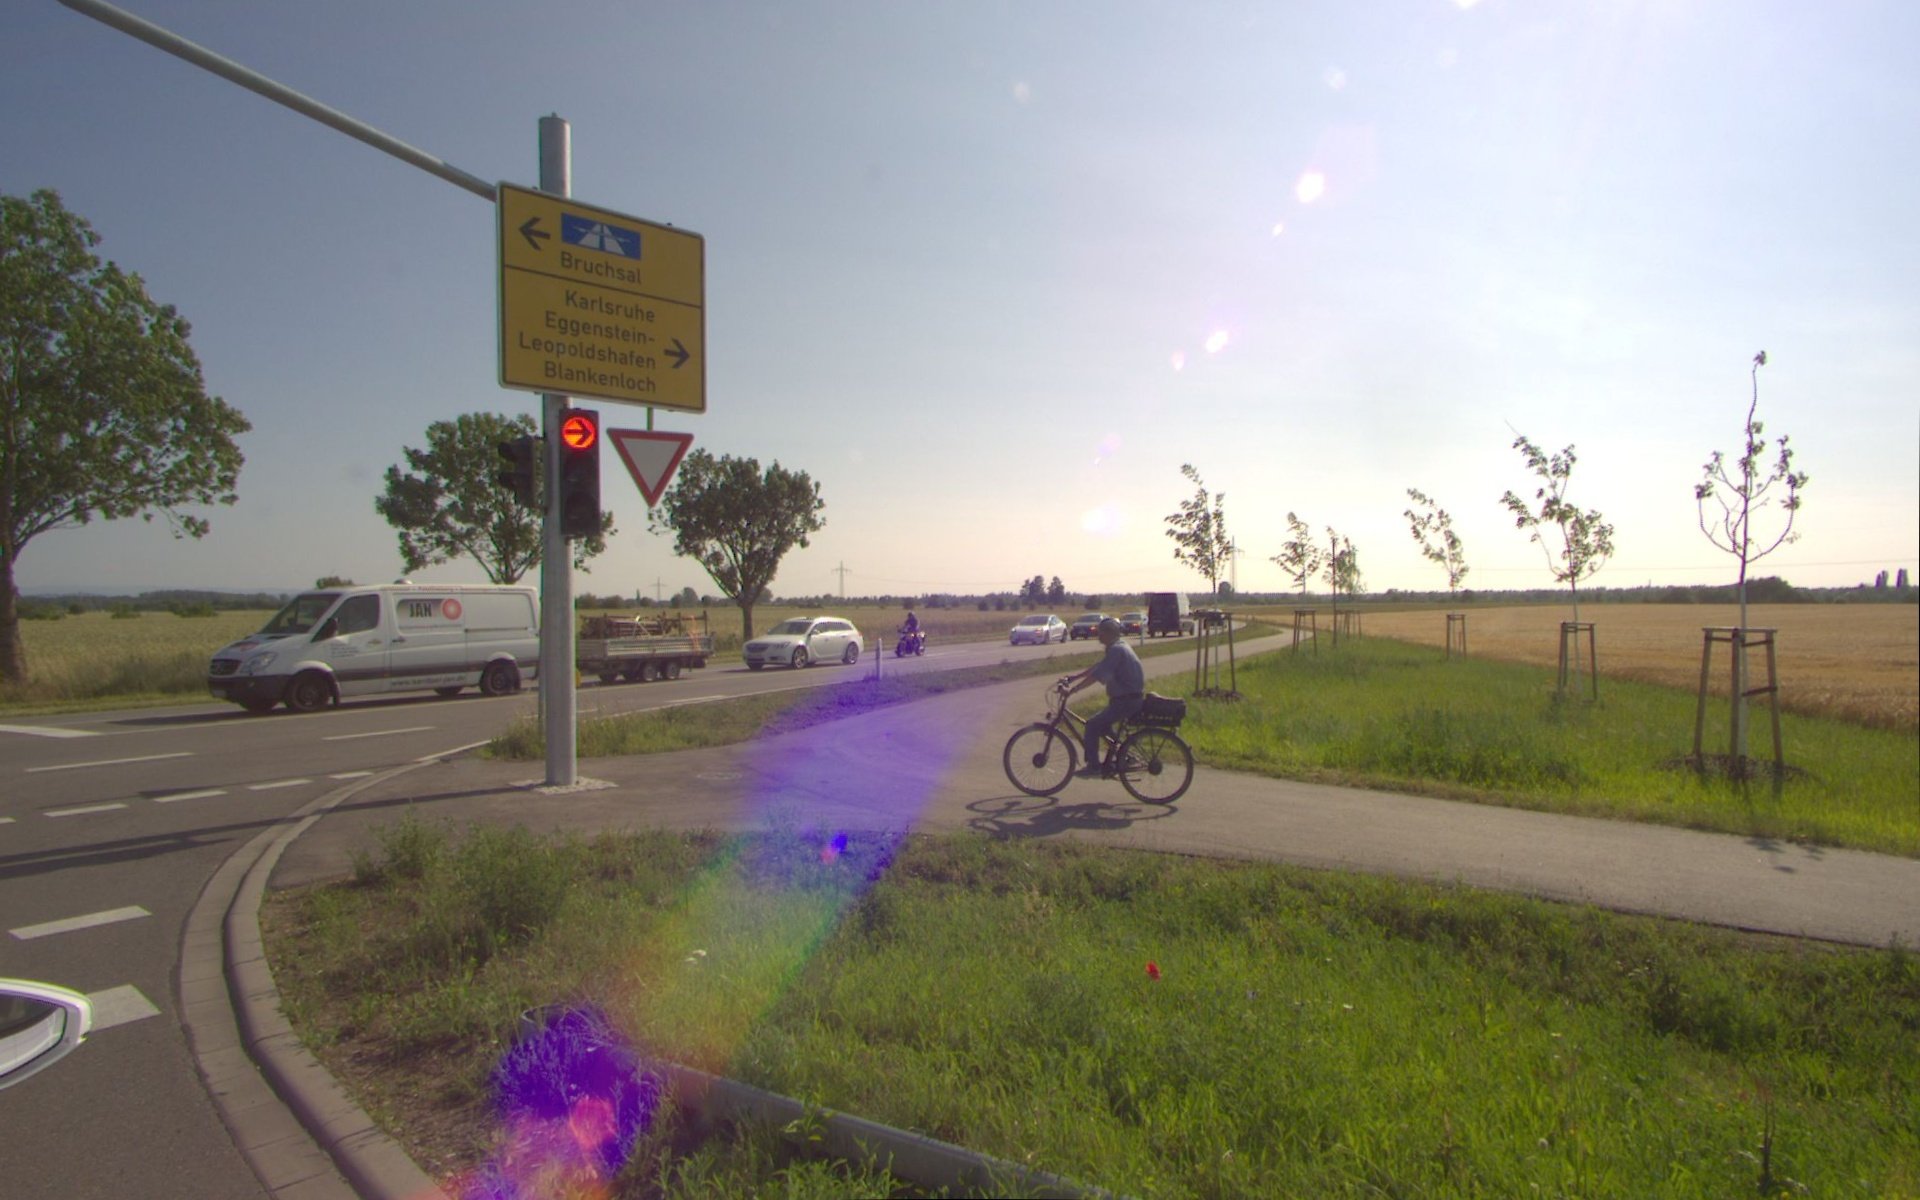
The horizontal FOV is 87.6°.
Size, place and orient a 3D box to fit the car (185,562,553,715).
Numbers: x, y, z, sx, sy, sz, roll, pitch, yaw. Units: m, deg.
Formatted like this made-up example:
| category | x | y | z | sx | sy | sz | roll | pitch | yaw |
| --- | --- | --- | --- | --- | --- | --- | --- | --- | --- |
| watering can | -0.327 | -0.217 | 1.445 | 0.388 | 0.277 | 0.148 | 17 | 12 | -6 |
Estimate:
| category | x | y | z | sx | sy | sz | roll | pitch | yaw |
| --- | --- | --- | --- | --- | --- | --- | --- | --- | --- |
| car | -11.160 | 0.645 | 19.557 | 1.971 | 2.525 | 5.947 | -2 | 0 | 30 |

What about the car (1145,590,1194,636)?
| category | x | y | z | sx | sy | sz | roll | pitch | yaw |
| --- | --- | --- | --- | --- | --- | --- | --- | --- | --- |
| car | 12.728 | 0.780 | 60.630 | 1.999 | 2.656 | 5.736 | 0 | 0 | 21 |

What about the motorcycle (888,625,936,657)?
| category | x | y | z | sx | sy | sz | roll | pitch | yaw |
| --- | --- | --- | --- | --- | --- | --- | --- | --- | --- |
| motorcycle | -1.762 | 1.514 | 37.297 | 0.836 | 1.133 | 2.140 | 0 | -2 | 26 |

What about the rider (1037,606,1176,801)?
| category | x | y | z | sx | sy | sz | roll | pitch | yaw |
| --- | --- | --- | --- | --- | --- | --- | --- | --- | --- |
| rider | 1.313 | 0.893 | 9.097 | 0.973 | 1.665 | 0.820 | 0 | 1 | -17 |

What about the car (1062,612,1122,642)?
| category | x | y | z | sx | sy | sz | roll | pitch | yaw |
| --- | --- | --- | --- | --- | --- | --- | --- | --- | --- |
| car | 7.789 | 1.608 | 58.595 | 1.990 | 1.609 | 4.868 | -2 | -3 | 27 |

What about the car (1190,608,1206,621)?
| category | x | y | z | sx | sy | sz | roll | pitch | yaw |
| --- | --- | --- | --- | --- | --- | --- | --- | --- | --- |
| car | 32.109 | 1.944 | 135.255 | 1.730 | 1.689 | 3.969 | -1 | -2 | 8 |

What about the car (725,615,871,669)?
| category | x | y | z | sx | sy | sz | roll | pitch | yaw |
| --- | --- | --- | --- | --- | --- | --- | --- | --- | --- |
| car | -4.897 | 1.298 | 30.957 | 1.969 | 1.529 | 4.868 | -2 | -3 | 27 |

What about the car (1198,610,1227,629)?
| category | x | y | z | sx | sy | sz | roll | pitch | yaw |
| --- | --- | --- | --- | --- | --- | --- | --- | --- | --- |
| car | 20.335 | 1.536 | 80.504 | 1.700 | 1.476 | 3.727 | 0 | 1 | 24 |

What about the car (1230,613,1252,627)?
| category | x | y | z | sx | sy | sz | roll | pitch | yaw |
| --- | --- | --- | --- | --- | --- | --- | --- | --- | --- |
| car | 31.220 | 2.169 | 111.214 | 1.665 | 1.517 | 3.986 | 0 | -1 | 27 |

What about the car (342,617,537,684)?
| category | x | y | z | sx | sy | sz | roll | pitch | yaw |
| --- | --- | --- | --- | --- | --- | --- | --- | --- | --- |
| car | -12.996 | 1.192 | 25.270 | 1.968 | 1.521 | 3.986 | 0 | -1 | 27 |

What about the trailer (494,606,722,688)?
| category | x | y | z | sx | sy | sz | roll | pitch | yaw |
| --- | --- | --- | --- | --- | --- | --- | --- | --- | --- |
| trailer | -8.376 | 1.048 | 24.416 | 1.925 | 1.776 | 5.254 | -1 | -1 | 30 |

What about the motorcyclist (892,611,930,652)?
| category | x | y | z | sx | sy | sz | roll | pitch | yaw |
| --- | --- | --- | --- | --- | --- | --- | --- | --- | --- |
| motorcyclist | -1.818 | 1.158 | 37.157 | 1.013 | 1.479 | 1.067 | 0 | -1 | 27 |

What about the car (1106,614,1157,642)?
| category | x | y | z | sx | sy | sz | roll | pitch | yaw |
| --- | --- | --- | --- | --- | --- | --- | --- | --- | --- |
| car | 11.339 | 1.879 | 65.819 | 1.969 | 1.712 | 4.869 | -1 | -2 | 26 |
